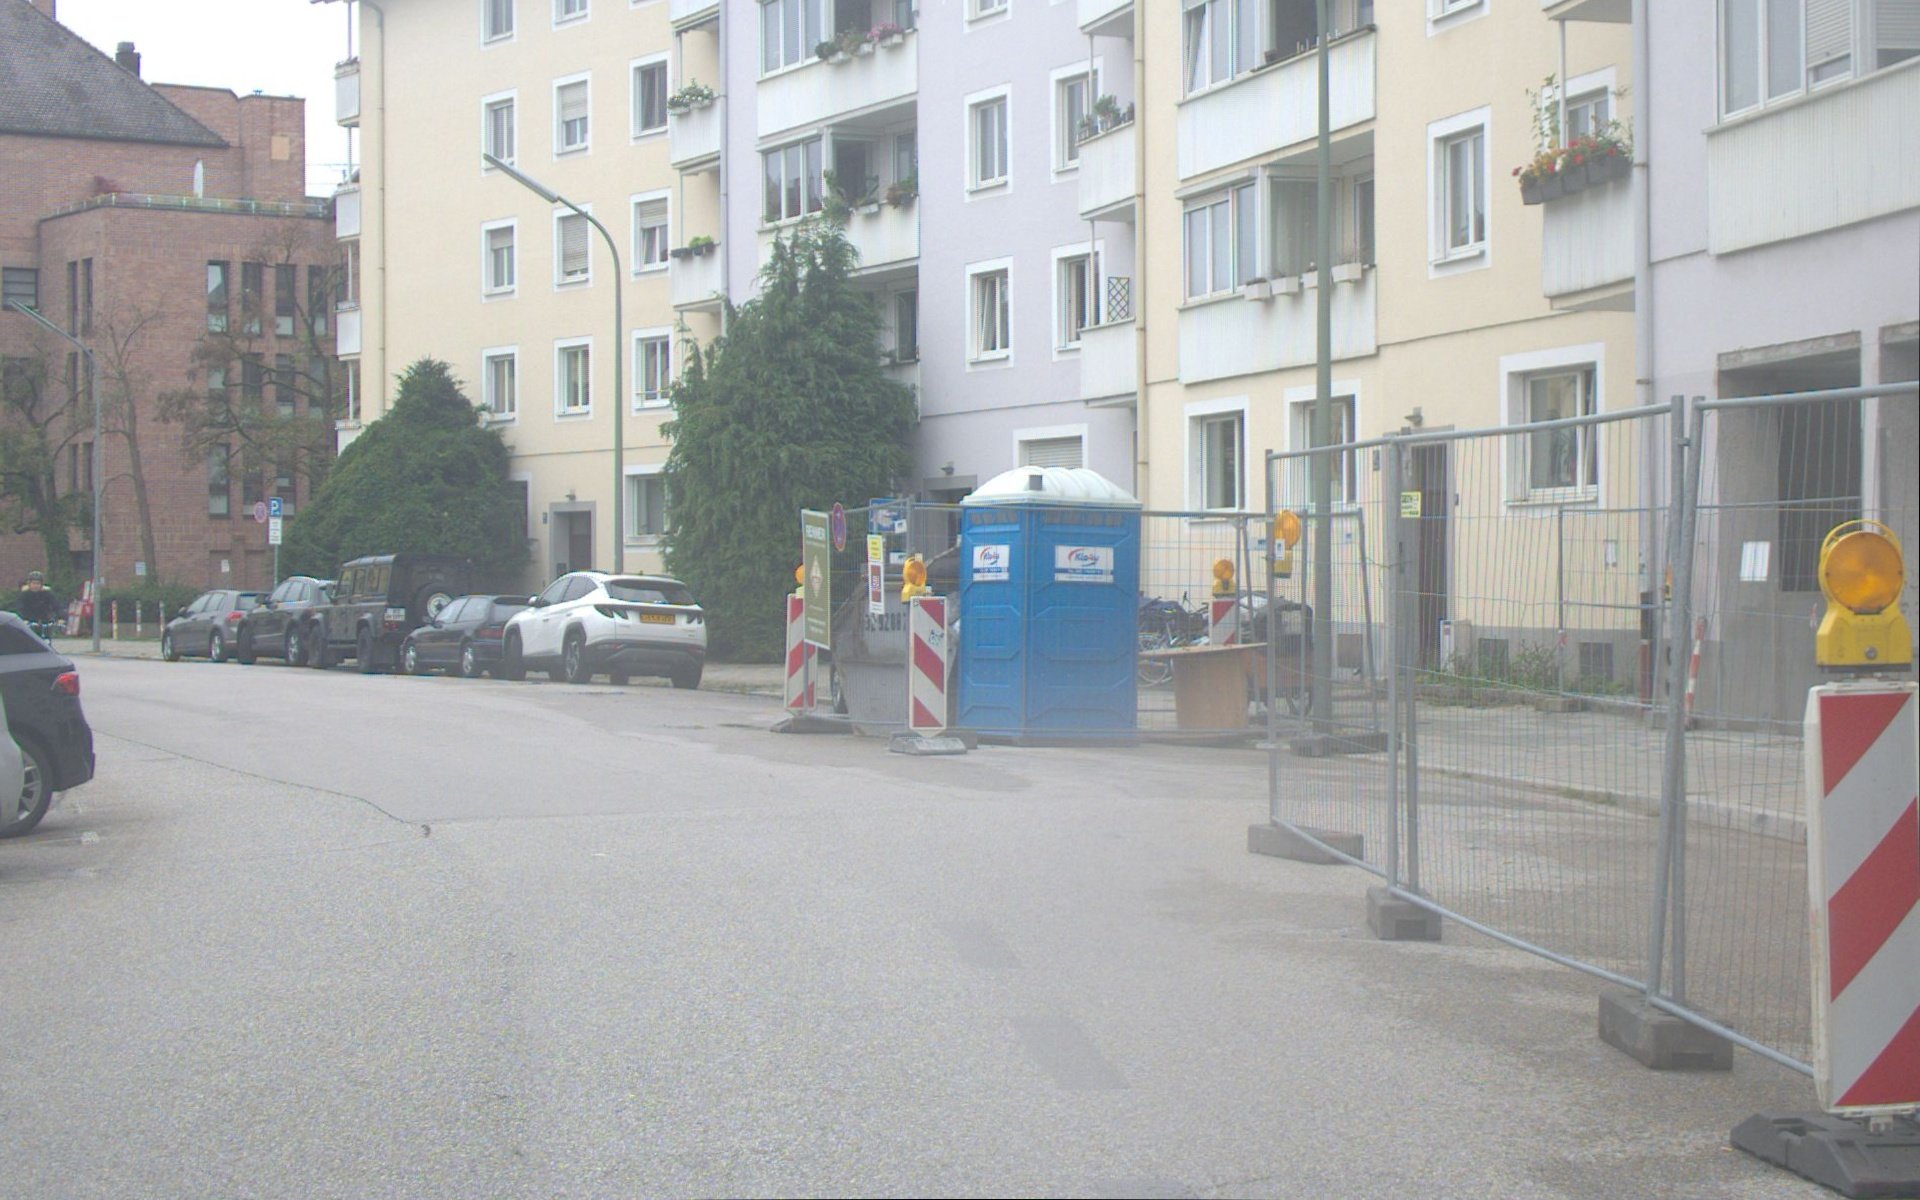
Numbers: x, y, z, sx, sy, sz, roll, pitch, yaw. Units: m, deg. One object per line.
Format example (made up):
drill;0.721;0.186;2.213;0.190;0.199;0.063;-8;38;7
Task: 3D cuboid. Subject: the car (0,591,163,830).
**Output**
car;-6.919;0.712;20.210;1.748;1.368;3.997;-2;1;45

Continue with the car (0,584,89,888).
car;-6.507;0.633;16.874;3.972;1.525;1.674;2;0;-43

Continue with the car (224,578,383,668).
car;-12.176;0.419;63.551;1.658;1.560;4.515;2;-1;-27

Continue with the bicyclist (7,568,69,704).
bicyclist;-11.892;0.458;44.370;0.747;1.711;1.032;-1;1;-14

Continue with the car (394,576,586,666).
car;-7.456;0.345;54.299;1.658;1.344;3.804;2;-2;-30

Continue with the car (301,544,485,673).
car;-9.710;0.120;58.616;1.747;2.074;4.516;2;0;-27

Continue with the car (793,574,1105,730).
car;-0.200;0.486;35.169;1.830;1.437;4.630;2;0;-18

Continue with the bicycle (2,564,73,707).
bicycle;-11.946;0.432;44.566;0.795;1.716;3.116;-2;2;-15

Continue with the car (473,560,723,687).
car;-5.285;0.310;49.647;2.026;1.672;4.613;2;0;-27

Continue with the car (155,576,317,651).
car;-14.290;0.289;67.702;1.754;1.392;4.044;2;-2;-33
